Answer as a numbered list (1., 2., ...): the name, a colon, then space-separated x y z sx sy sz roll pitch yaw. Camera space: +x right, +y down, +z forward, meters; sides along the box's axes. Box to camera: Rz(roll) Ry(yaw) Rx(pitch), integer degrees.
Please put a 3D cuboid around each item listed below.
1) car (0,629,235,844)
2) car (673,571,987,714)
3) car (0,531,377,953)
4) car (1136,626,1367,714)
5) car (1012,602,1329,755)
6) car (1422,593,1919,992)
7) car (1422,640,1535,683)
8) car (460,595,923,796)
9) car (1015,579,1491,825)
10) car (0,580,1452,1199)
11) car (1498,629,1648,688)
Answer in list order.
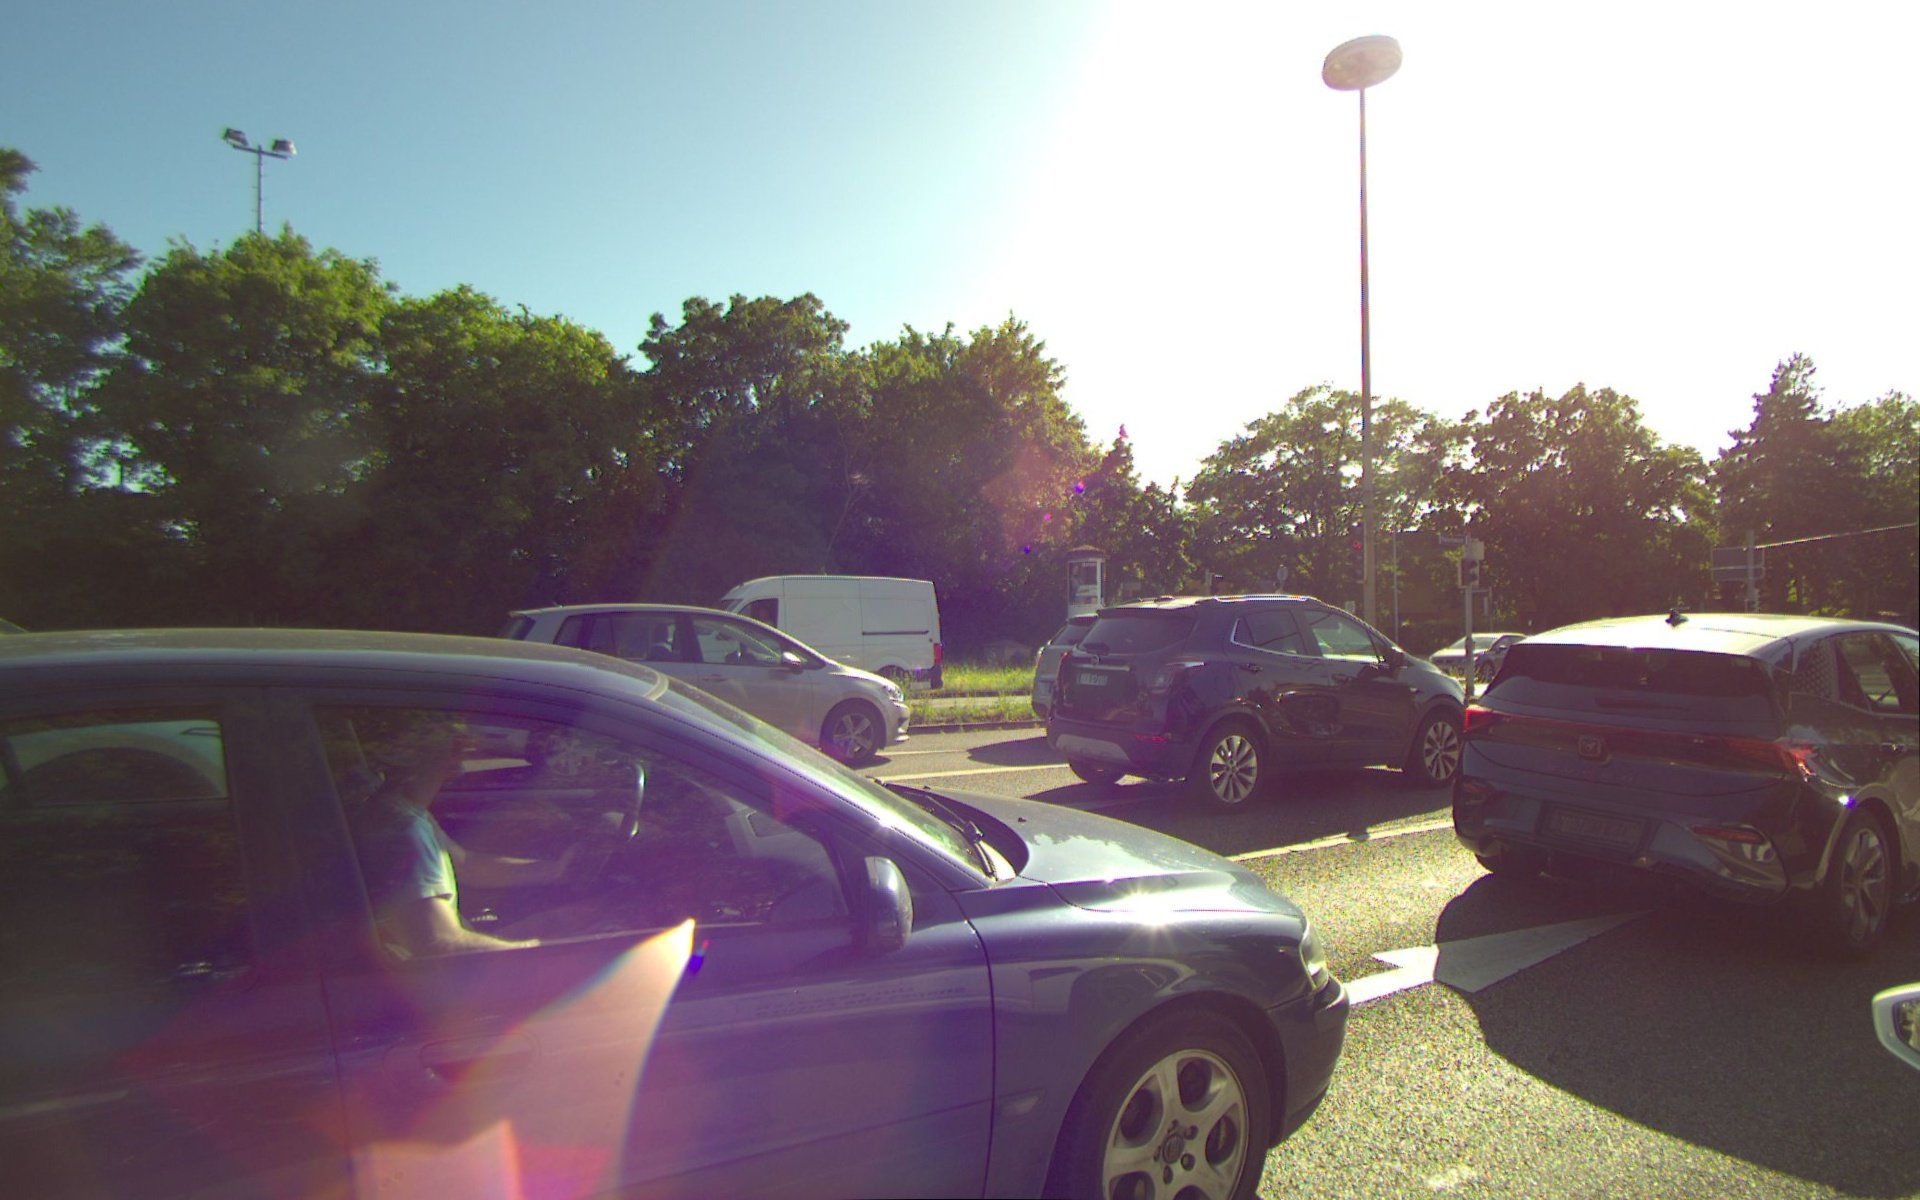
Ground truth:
1. car: -7.916 0.924 6.949 4.499 1.448 1.822 1 -2 -30
2. car: -2.504 0.828 20.111 5.934 2.525 2.090 1 -2 -31
3. car: -5.192 0.597 4.548 4.373 1.732 1.984 1 -2 -30
4. car: 6.013 1.362 20.602 4.561 1.622 1.984 1 -2 -30
5. car: 2.808 0.952 13.185 3.956 1.724 1.820 1 -2 -32
6. car: 4.737 0.827 5.819 4.158 1.601 1.676 2 -1 -30
7. car: 16.020 1.868 31.005 3.593 1.251 1.383 1 -2 -30
8. car: -2.616 0.834 10.008 4.156 1.632 1.822 1 -2 -30
9. car: 2.617 0.768 8.797 3.953 1.711 1.796 1 -2 -30
10. car: -1.099 0.724 2.204 4.404 1.471 1.767 2 0 -30
11. car: 16.688 1.541 27.307 4.116 1.482 1.768 1 -2 -30
